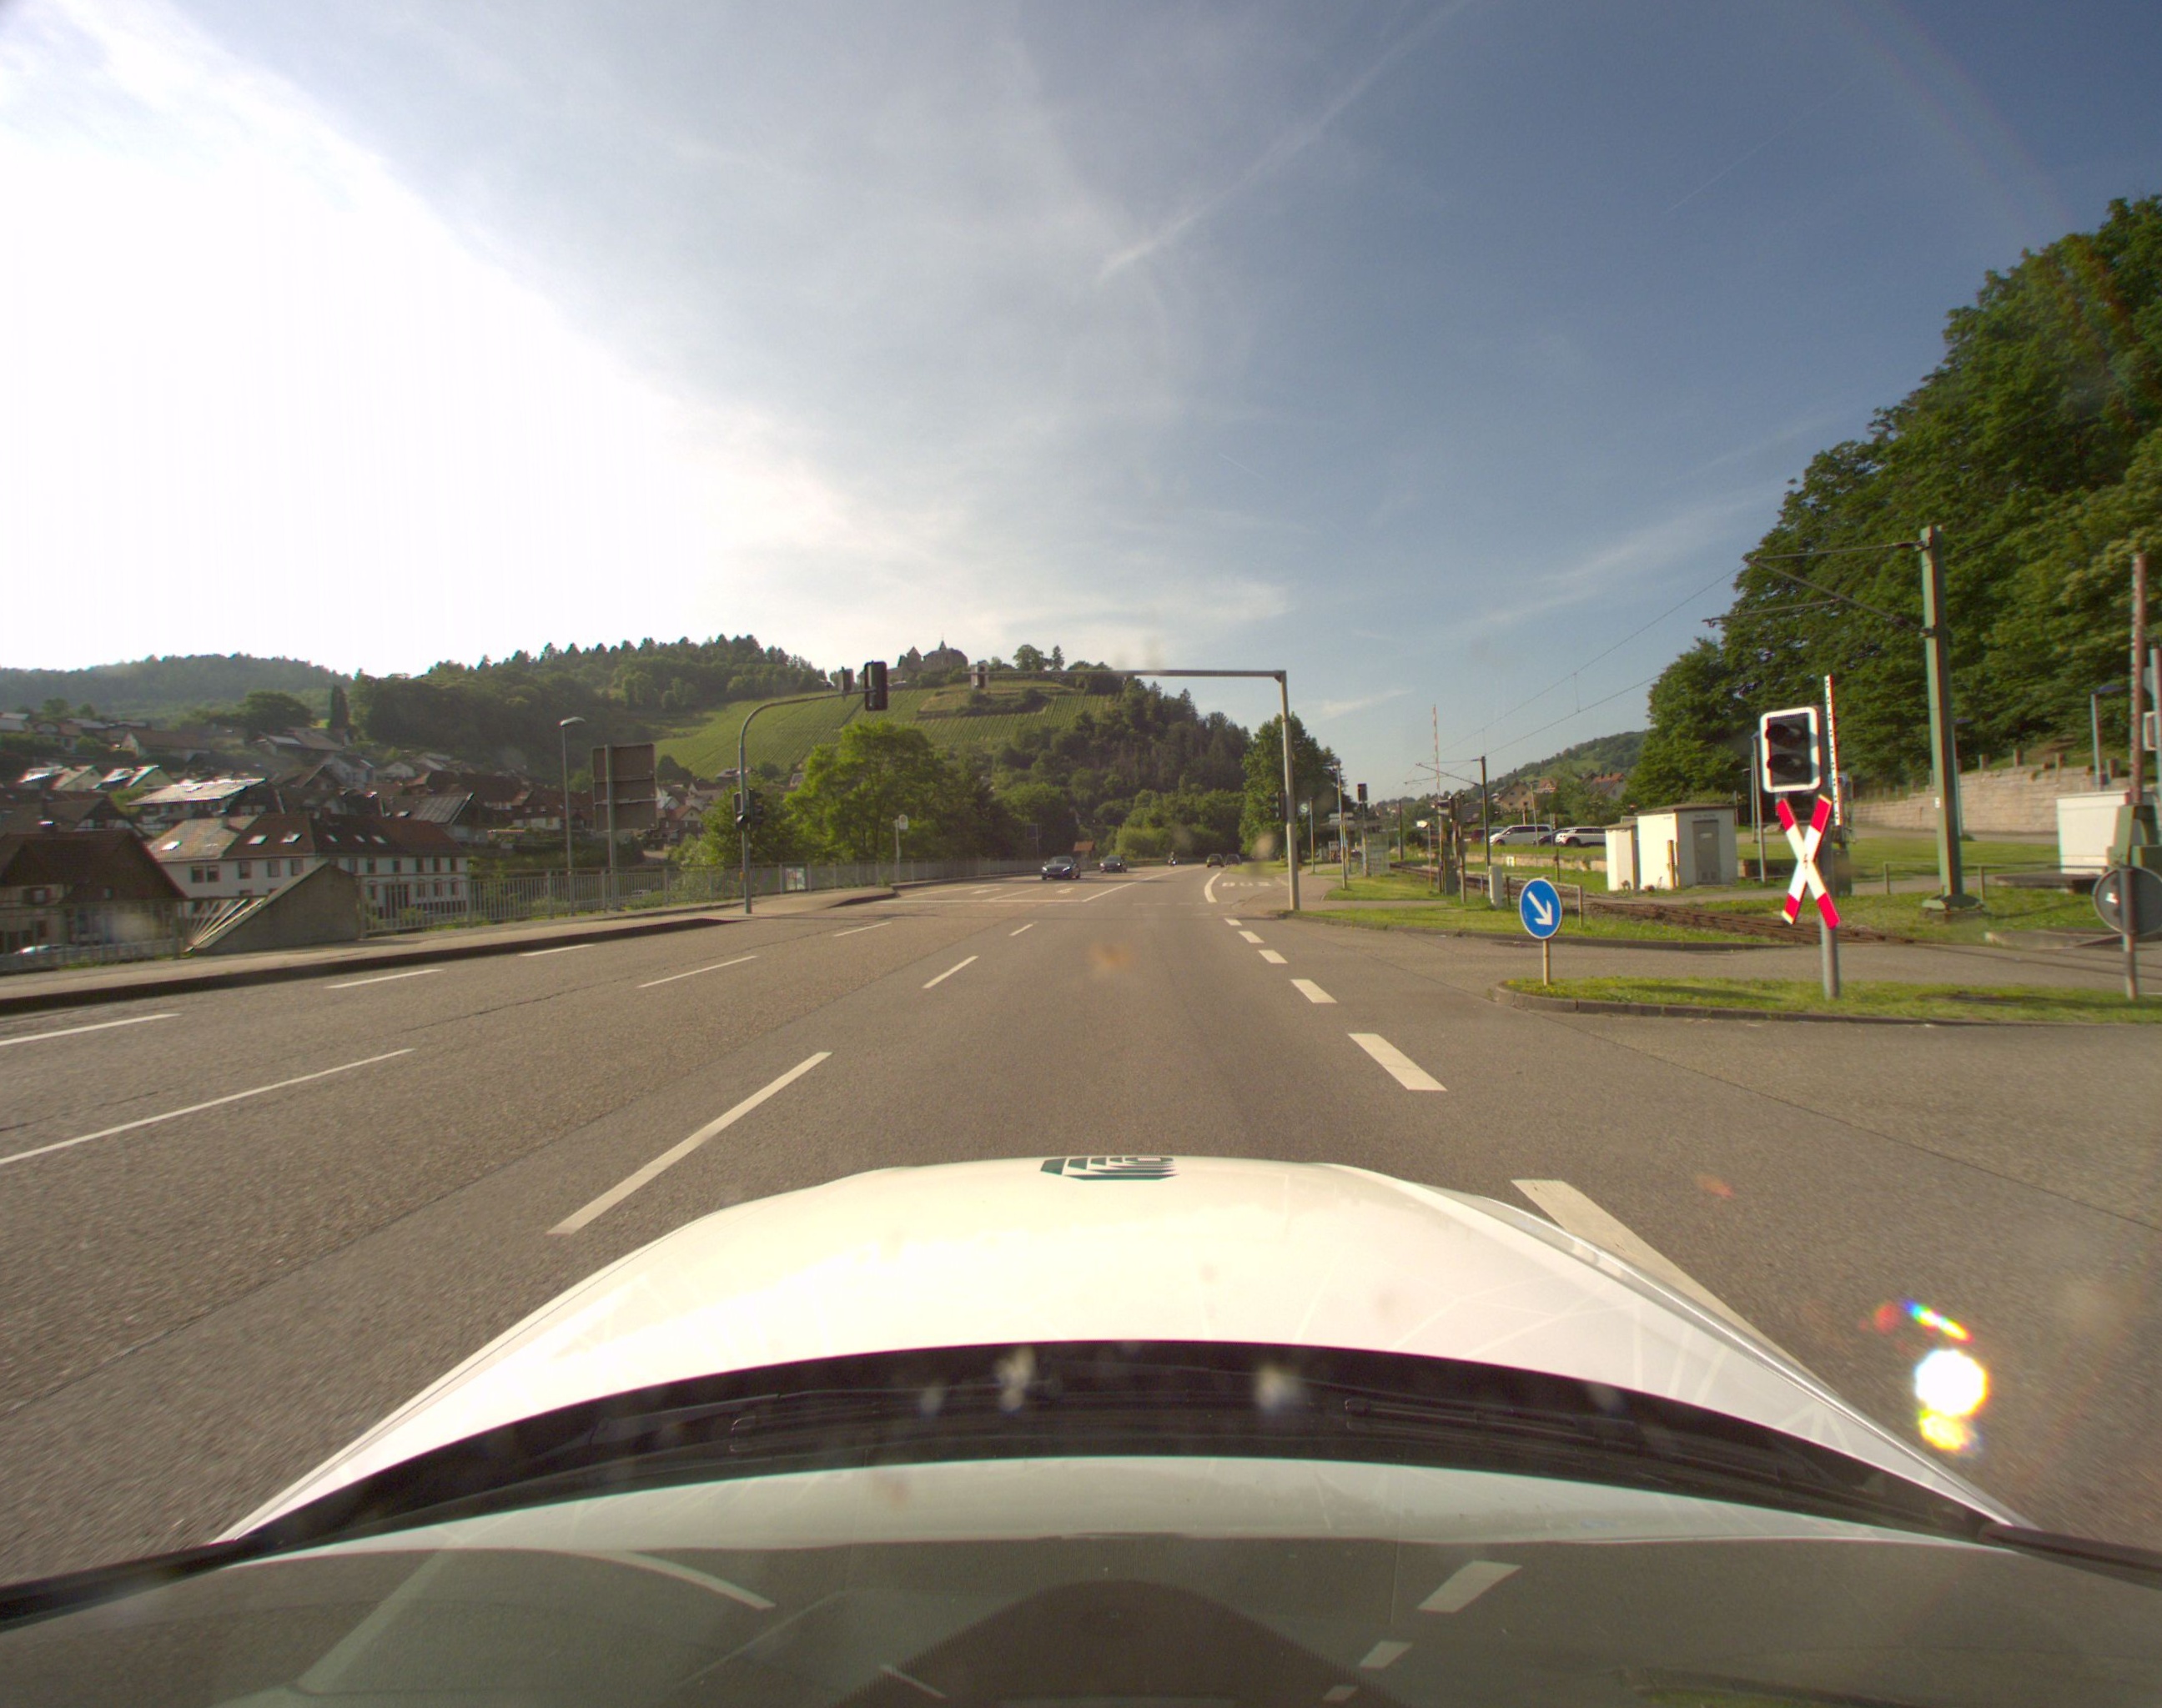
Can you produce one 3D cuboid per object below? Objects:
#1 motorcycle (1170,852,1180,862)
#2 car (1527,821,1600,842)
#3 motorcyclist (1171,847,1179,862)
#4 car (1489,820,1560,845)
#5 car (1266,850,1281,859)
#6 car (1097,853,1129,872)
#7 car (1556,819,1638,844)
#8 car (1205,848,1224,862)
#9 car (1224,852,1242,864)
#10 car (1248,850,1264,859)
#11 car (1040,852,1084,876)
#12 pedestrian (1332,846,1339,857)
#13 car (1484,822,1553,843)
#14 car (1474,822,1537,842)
[{"bbox_3d":[11.950,0.368,103.482,0.965,1.221,2.582,-1,0,15],"label":"motorcycle"},{"bbox_3d":[35.223,-1.657,59.596,4.233,1.343,1.839,-2,0,15],"label":"car"},{"bbox_3d":[11.893,0.072,103.345,0.838,1.784,1.176,-1,0,15],"label":"motorcyclist"},{"bbox_3d":[37.410,-1.803,68.861,4.914,1.943,2.150,-2,0,15],"label":"car"},{"bbox_3d":[33.981,0.043,143.742,1.790,1.453,3.668,-4,-1,25],"label":"car"},{"bbox_3d":[2.744,0.663,68.712,1.772,1.479,4.771,-2,0,14],"label":"car"},{"bbox_3d":[32.979,-1.417,52.158,4.065,1.398,1.817,-2,0,15],"label":"car"},{"bbox_3d":[15.000,0.130,91.623,1.716,1.457,3.424,-4,-1,15],"label":"car"},{"bbox_3d":[20.625,0.528,110.447,1.826,1.459,3.729,-4,-1,17],"label":"car"},{"bbox_3d":[32.546,0.090,151.343,1.659,1.460,4.227,-1,0,28],"label":"car"},{"bbox_3d":[-1.131,0.587,50.647,1.759,1.377,4.658,0,0,11],"label":"car"},{"bbox_3d":[28.122,-0.252,90.045,0.629,1.161,0.730,-4,-1,24],"label":"pedestrian"},{"bbox_3d":[38.103,-1.847,71.119,4.914,1.587,2.150,-2,0,15],"label":"car"},{"bbox_3d":[39.709,-2.063,76.235,4.914,1.690,1.944,-2,0,15],"label":"car"}]
